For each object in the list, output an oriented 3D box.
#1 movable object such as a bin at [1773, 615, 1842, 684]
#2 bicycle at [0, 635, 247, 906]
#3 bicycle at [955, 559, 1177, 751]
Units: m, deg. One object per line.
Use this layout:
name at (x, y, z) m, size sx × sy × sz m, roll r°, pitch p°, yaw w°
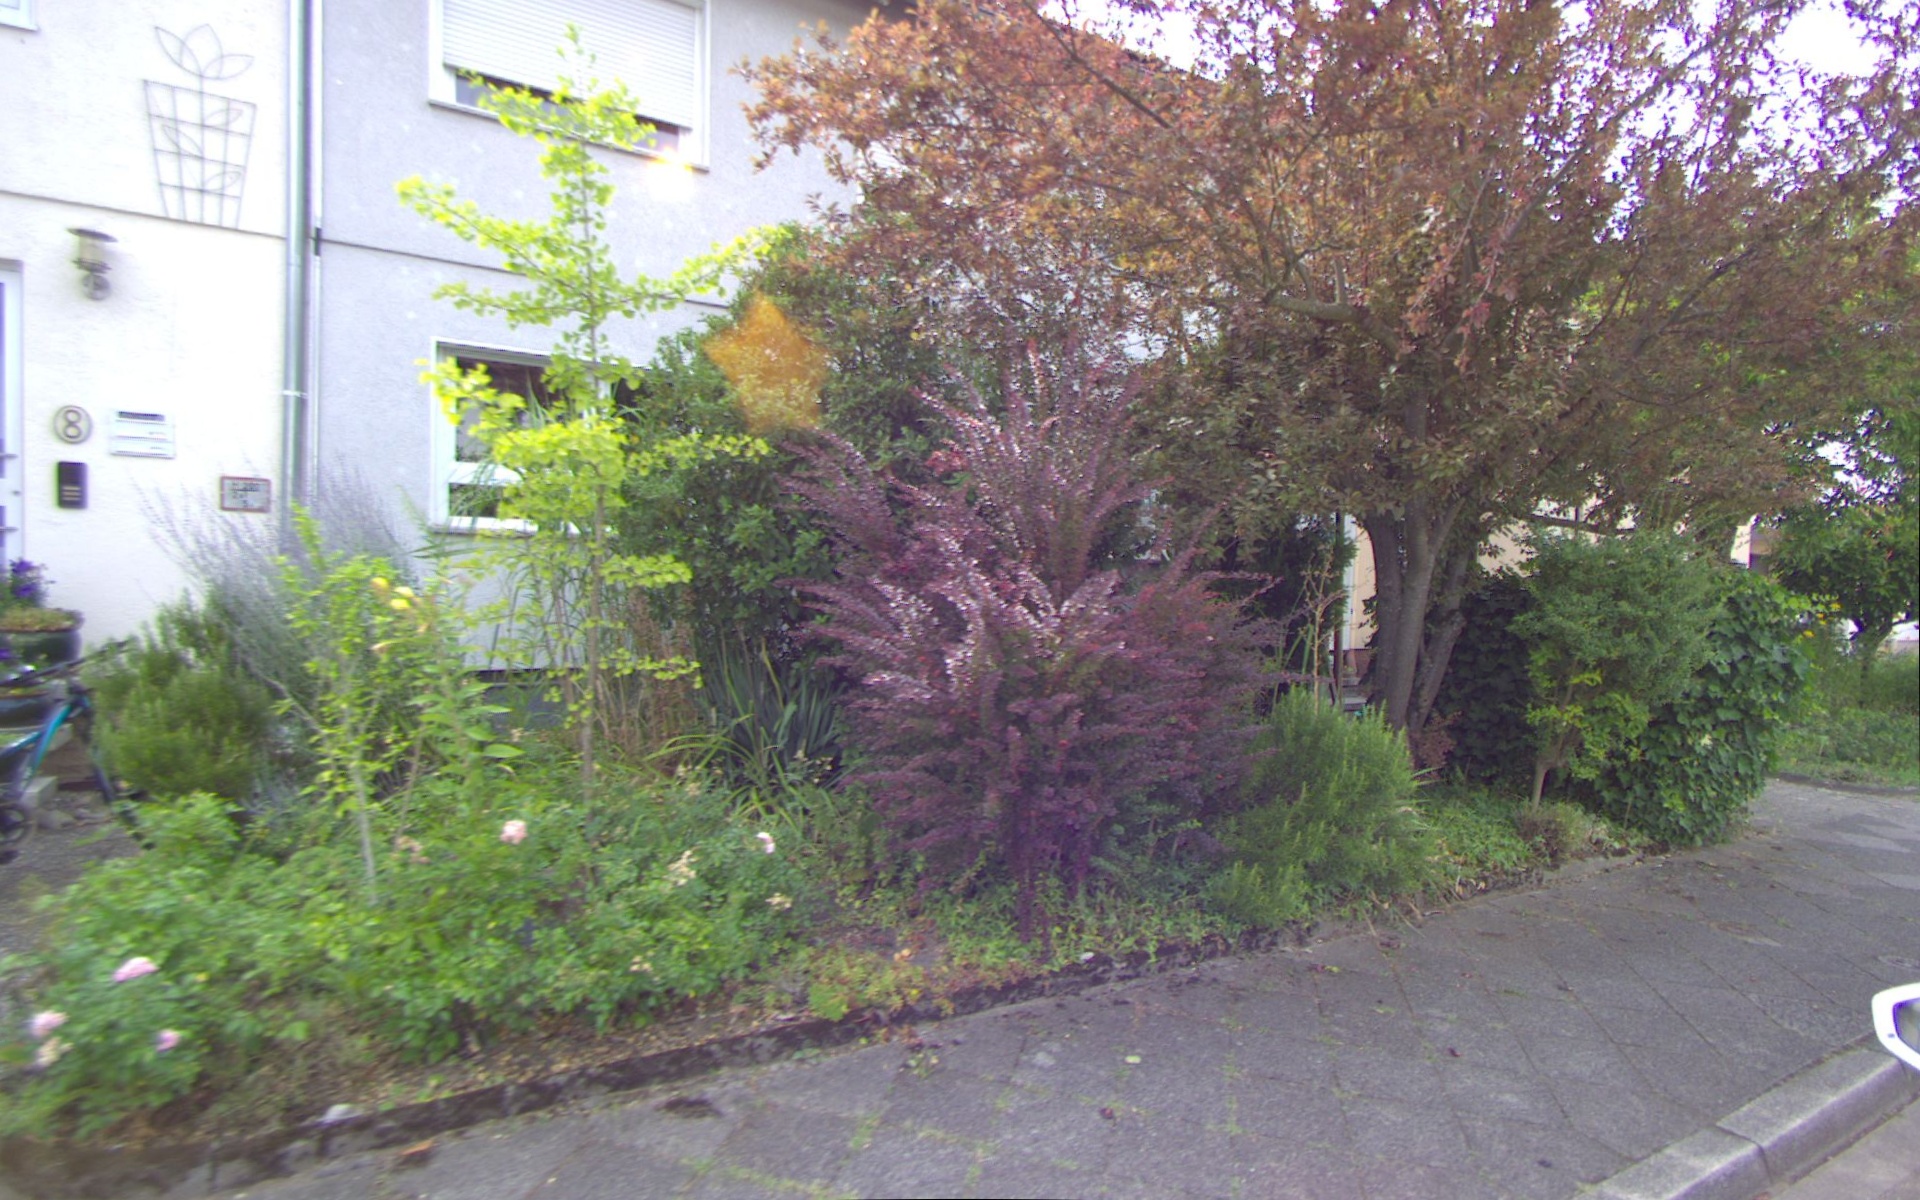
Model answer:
movable object such as a bin at (12.973, 0.746, 15.382) m, size 0.535 × 1.016 × 0.649 m, roll 1°, pitch 1°, yaw -31°
bicycle at (-3.686, 0.645, 3.819) m, size 0.518 × 0.905 × 1.703 m, roll 1°, pitch 2°, yaw 11°
bicycle at (0.871, 0.413, 8.009) m, size 1.826 × 1.414 × 0.429 m, roll 1°, pitch 2°, yaw -30°
